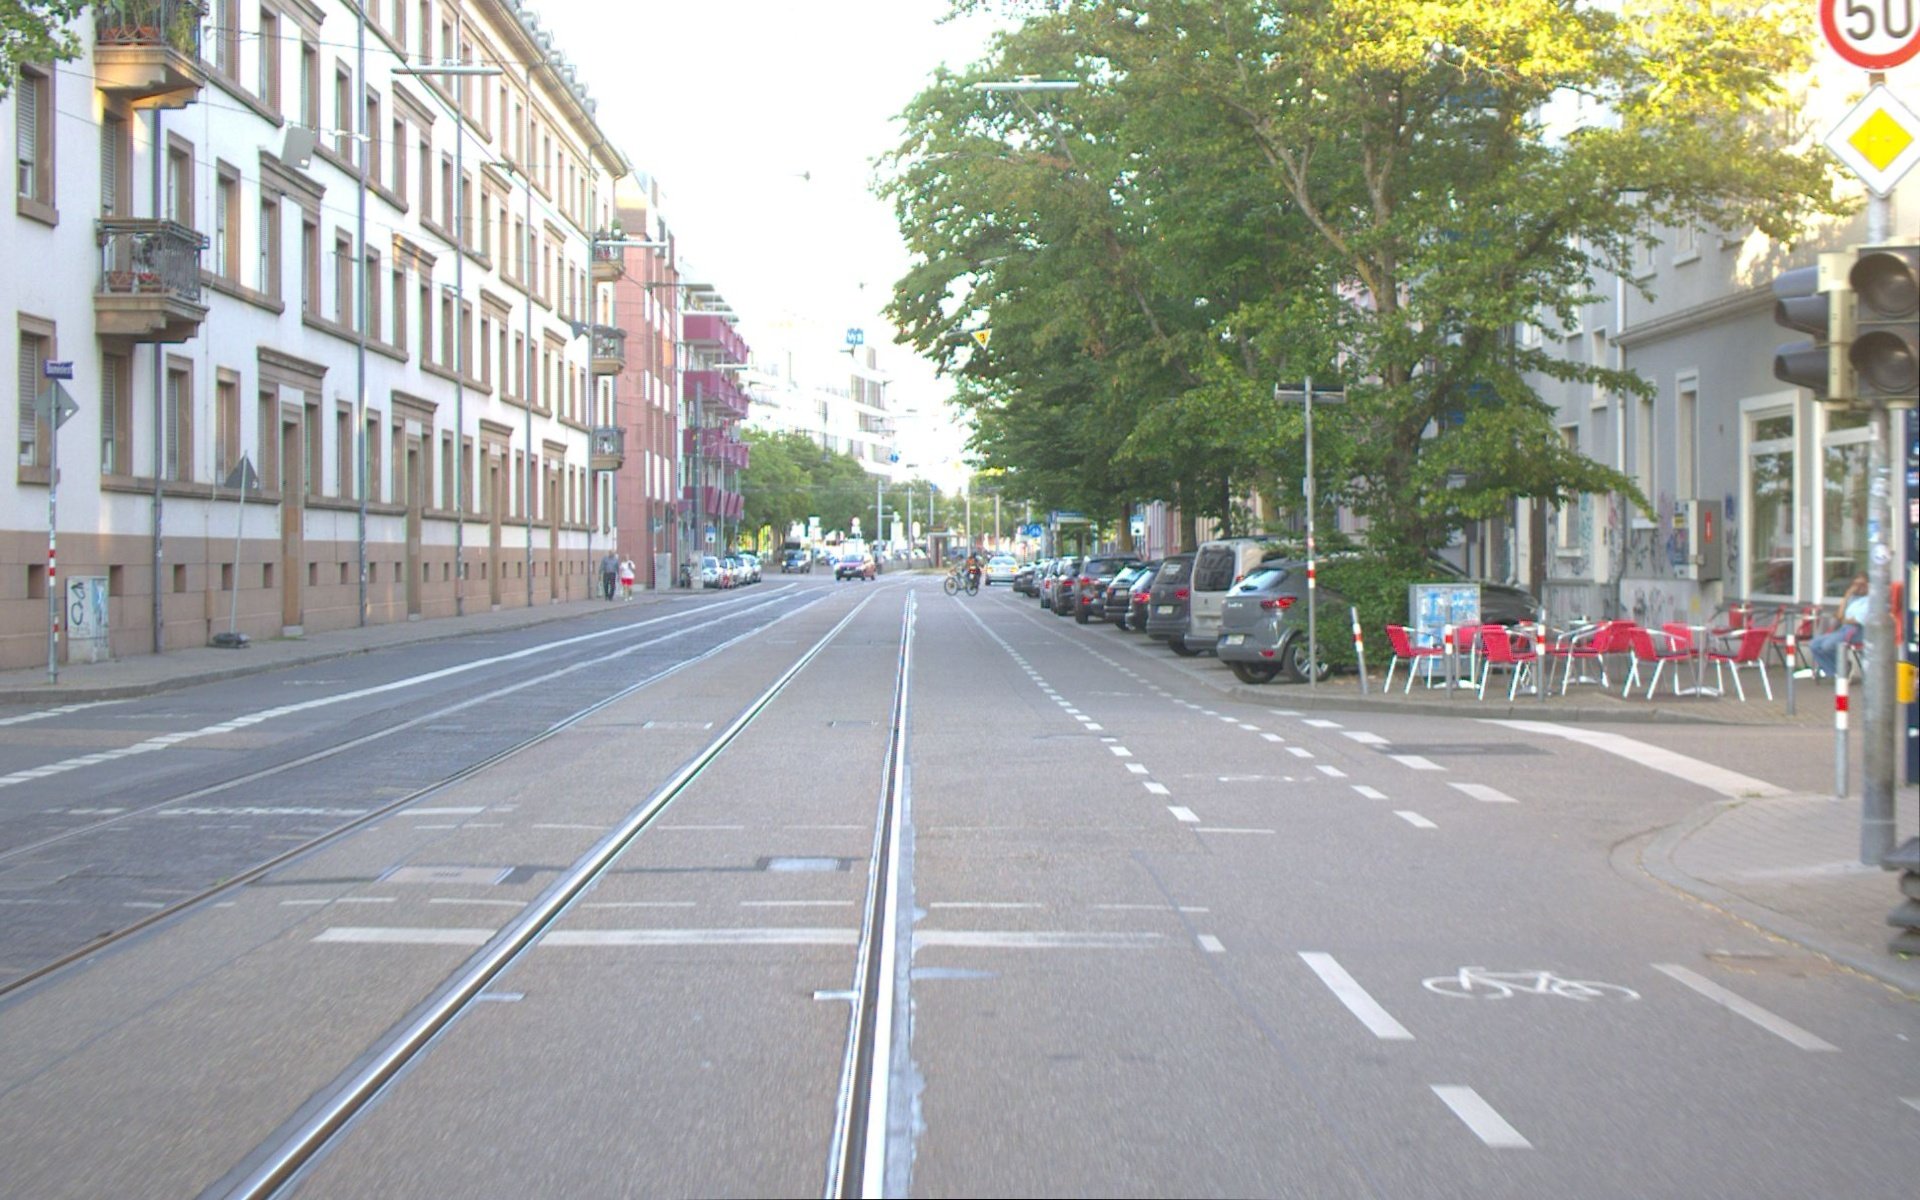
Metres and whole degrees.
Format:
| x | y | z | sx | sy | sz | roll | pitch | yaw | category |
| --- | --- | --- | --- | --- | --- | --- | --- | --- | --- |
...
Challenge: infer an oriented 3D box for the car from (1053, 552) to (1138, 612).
| x | y | z | sx | sy | sz | roll | pitch | yaw | category |
| --- | --- | --- | --- | --- | --- | --- | --- | --- | --- |
| 3.504 | -0.480 | 89.737 | 1.993 | 1.484 | 5.036 | -1 | 1 | 0 | car |

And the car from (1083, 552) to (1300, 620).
| x | y | z | sx | sy | sz | roll | pitch | yaw | category |
| --- | --- | --- | --- | --- | --- | --- | --- | --- | --- |
| 4.807 | -0.297 | 71.347 | 4.248 | 1.383 | 1.621 | 0 | 1 | -26 | car |

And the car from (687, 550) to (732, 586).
| x | y | z | sx | sy | sz | roll | pitch | yaw | category |
| --- | --- | --- | --- | --- | --- | --- | --- | --- | --- |
| -11.425 | -1.465 | 157.275 | 1.717 | 1.550 | 4.204 | 1 | 1 | 0 | car |

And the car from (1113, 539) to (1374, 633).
| x | y | z | sx | sy | sz | roll | pitch | yaw | category |
| --- | --- | --- | --- | --- | --- | --- | --- | --- | --- |
| 4.747 | -0.255 | 57.640 | 3.986 | 1.459 | 1.720 | -1 | 1 | -18 | car |

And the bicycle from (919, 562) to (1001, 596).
| x | y | z | sx | sy | sz | roll | pitch | yaw | category |
| --- | --- | --- | --- | --- | --- | --- | --- | --- | --- |
| 0.003 | -0.859 | 138.813 | 3.170 | 1.349 | 0.958 | 0 | 1 | -9 | bicycle |

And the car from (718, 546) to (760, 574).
| x | y | z | sx | sy | sz | roll | pitch | yaw | category |
| --- | --- | --- | --- | --- | --- | --- | --- | --- | --- |
| -11.390 | -2.062 | 177.317 | 1.691 | 1.409 | 4.677 | 2 | 1 | 2 | car |

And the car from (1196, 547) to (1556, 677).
| x | y | z | sx | sy | sz | roll | pitch | yaw | category |
| --- | --- | --- | --- | --- | --- | --- | --- | --- | --- |
| 5.078 | 0.122 | 42.043 | 3.986 | 1.535 | 1.780 | 0 | 1 | -20 | car |

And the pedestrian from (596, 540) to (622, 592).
| x | y | z | sx | sy | sz | roll | pitch | yaw | category |
| --- | --- | --- | --- | --- | --- | --- | --- | --- | --- |
| -11.579 | -1.134 | 113.322 | 0.795 | 1.696 | 0.981 | 0 | 1 | -3 | pedestrian |

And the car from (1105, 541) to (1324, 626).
| x | y | z | sx | sy | sz | roll | pitch | yaw | category |
| --- | --- | --- | --- | --- | --- | --- | --- | --- | --- |
| 5.046 | -0.345 | 68.269 | 3.960 | 1.548 | 1.720 | -1 | 2 | -18 | car |

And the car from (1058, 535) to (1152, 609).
| x | y | z | sx | sy | sz | roll | pitch | yaw | category |
| --- | --- | --- | --- | --- | --- | --- | --- | --- | --- |
| 3.378 | -0.669 | 80.660 | 1.879 | 1.612 | 4.262 | -2 | 1 | -1 | car |

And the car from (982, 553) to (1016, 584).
| x | y | z | sx | sy | sz | roll | pitch | yaw | category |
| --- | --- | --- | --- | --- | --- | --- | --- | --- | --- |
| 2.012 | -1.644 | 178.080 | 1.717 | 1.550 | 4.204 | 1 | 1 | 1 | car |

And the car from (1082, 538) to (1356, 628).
| x | y | z | sx | sy | sz | roll | pitch | yaw | category |
| --- | --- | --- | --- | --- | --- | --- | --- | --- | --- |
| 4.472 | -0.312 | 59.420 | 4.376 | 1.459 | 1.720 | -1 | 1 | -18 | car |

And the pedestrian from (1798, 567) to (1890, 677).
| x | y | z | sx | sy | sz | roll | pitch | yaw | category |
| --- | --- | --- | --- | --- | --- | --- | --- | --- | --- |
| 9.372 | 0.229 | 36.469 | 0.649 | 1.151 | 0.691 | 0 | 1 | -24 | pedestrian |

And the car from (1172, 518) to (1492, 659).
| x | y | z | sx | sy | sz | roll | pitch | yaw | category |
| --- | --- | --- | --- | --- | --- | --- | --- | --- | --- |
| 5.153 | -0.189 | 47.694 | 3.986 | 1.809 | 1.825 | -2 | 2 | -22 | car |

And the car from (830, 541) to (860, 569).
| x | y | z | sx | sy | sz | roll | pitch | yaw | category |
| --- | --- | --- | --- | --- | --- | --- | --- | --- | --- |
| -6.523 | -2.544 | 194.491 | 1.559 | 1.553 | 3.755 | -1 | 1 | -3 | car |

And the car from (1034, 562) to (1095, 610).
| x | y | z | sx | sy | sz | roll | pitch | yaw | category |
| --- | --- | --- | --- | --- | --- | --- | --- | --- | --- |
| 3.114 | -0.427 | 103.050 | 1.619 | 1.376 | 3.776 | -2 | 1 | -1 | car |

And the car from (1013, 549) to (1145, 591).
| x | y | z | sx | sy | sz | roll | pitch | yaw | category |
| --- | --- | --- | --- | --- | --- | --- | --- | --- | --- |
| 4.427 | -1.127 | 128.326 | 4.443 | 1.511 | 2.064 | -1 | 1 | -23 | car |

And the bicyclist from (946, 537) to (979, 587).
| x | y | z | sx | sy | sz | roll | pitch | yaw | category |
| --- | --- | --- | --- | --- | --- | --- | --- | --- | --- |
| 0.094 | -1.552 | 138.817 | 1.214 | 2.007 | 0.947 | -1 | 1 | -8 | bicyclist |

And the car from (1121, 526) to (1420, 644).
| x | y | z | sx | sy | sz | roll | pitch | yaw | category |
| --- | --- | --- | --- | --- | --- | --- | --- | --- | --- |
| 4.770 | -0.259 | 52.880 | 4.177 | 1.690 | 1.847 | -1 | 1 | -22 | car |
